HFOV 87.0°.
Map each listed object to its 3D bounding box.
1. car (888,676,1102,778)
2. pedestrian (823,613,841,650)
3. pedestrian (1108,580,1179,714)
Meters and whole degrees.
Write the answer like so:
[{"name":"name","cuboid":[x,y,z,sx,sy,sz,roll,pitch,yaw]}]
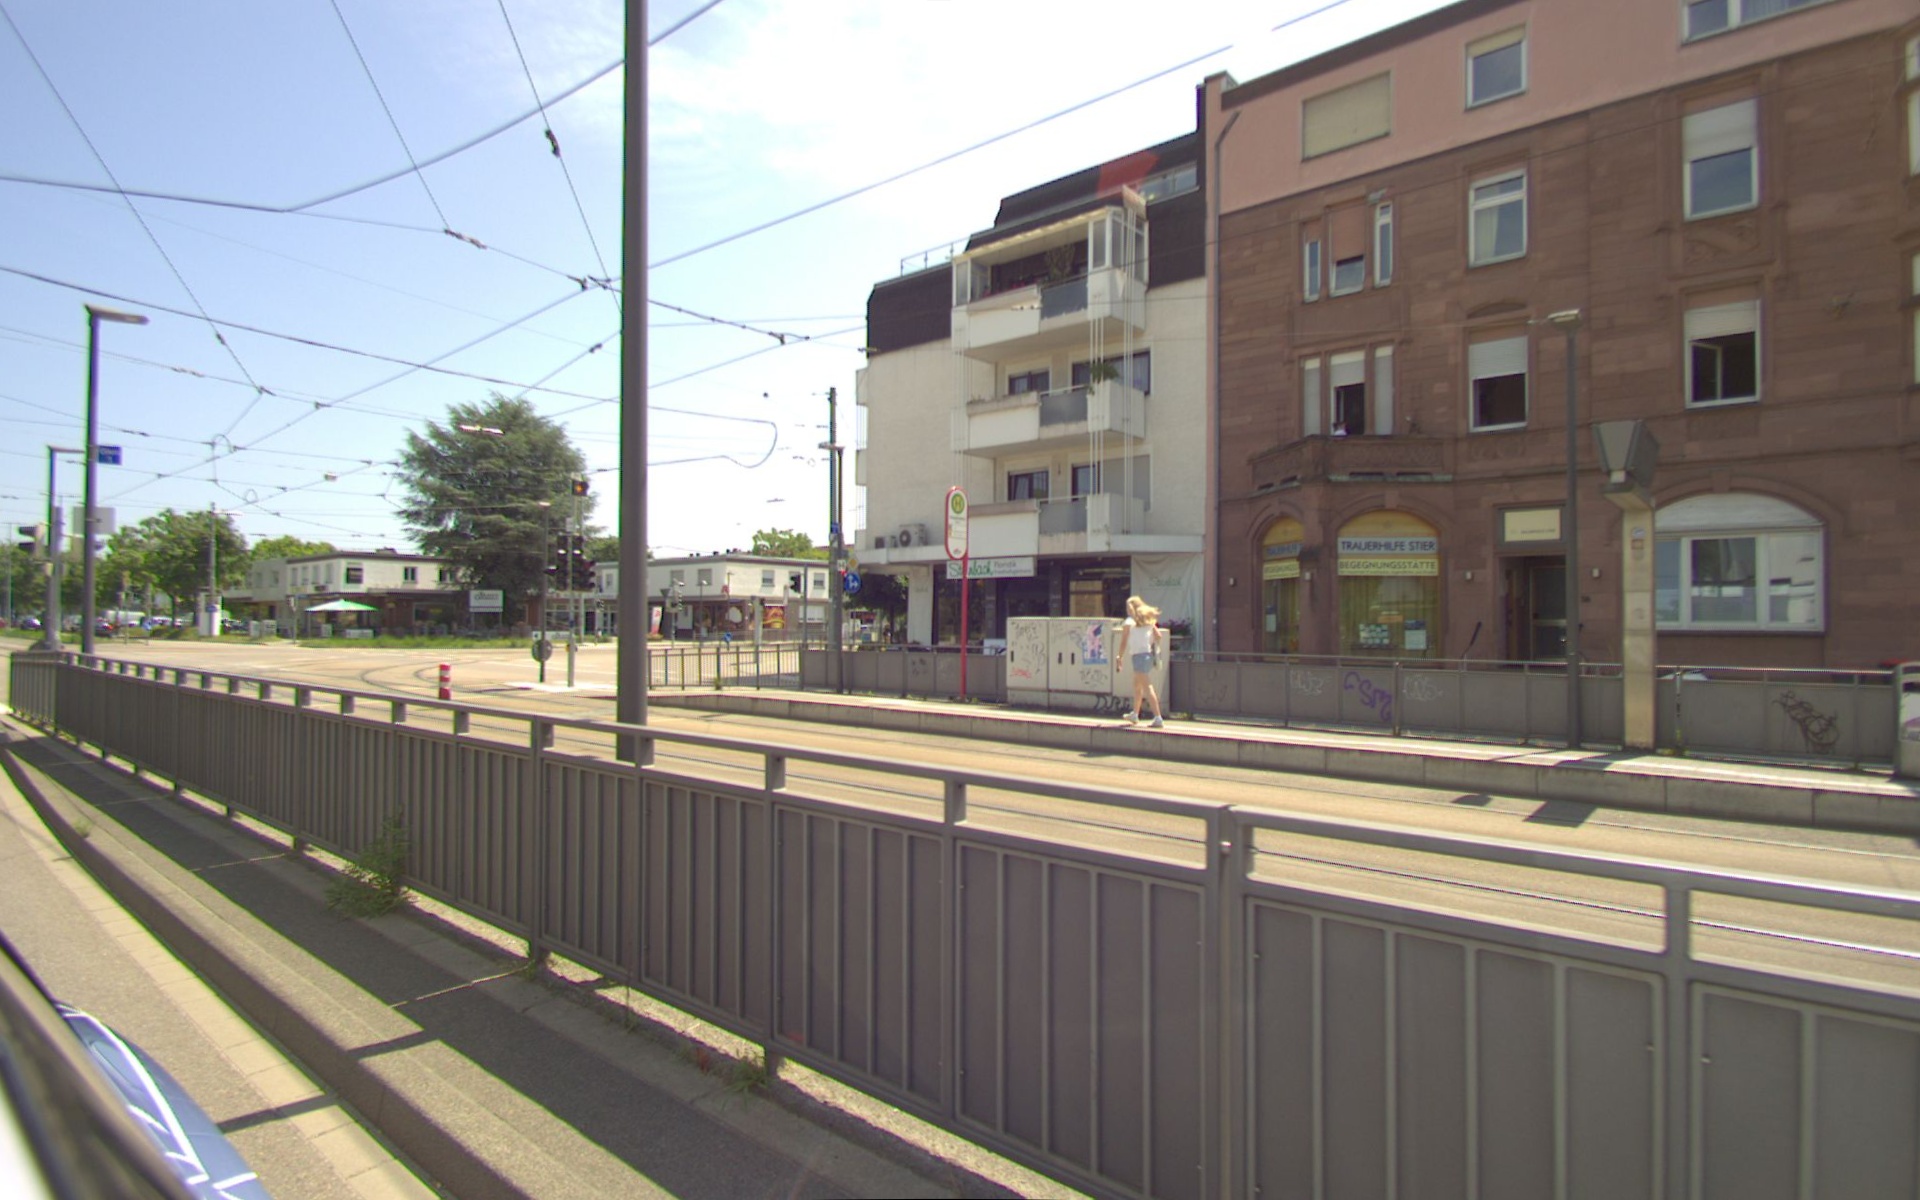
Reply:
[{"name":"car","cuboid":[0.606,2.370,19.638,3.999,1.497,1.674,-1,0,42]},{"name":"pedestrian","cuboid":[-6.086,1.512,48.085,0.646,1.728,0.570,-1,-3,41]},{"name":"pedestrian","cuboid":[2.327,0.593,12.819,0.676,1.637,0.590,-1,-3,41]}]
